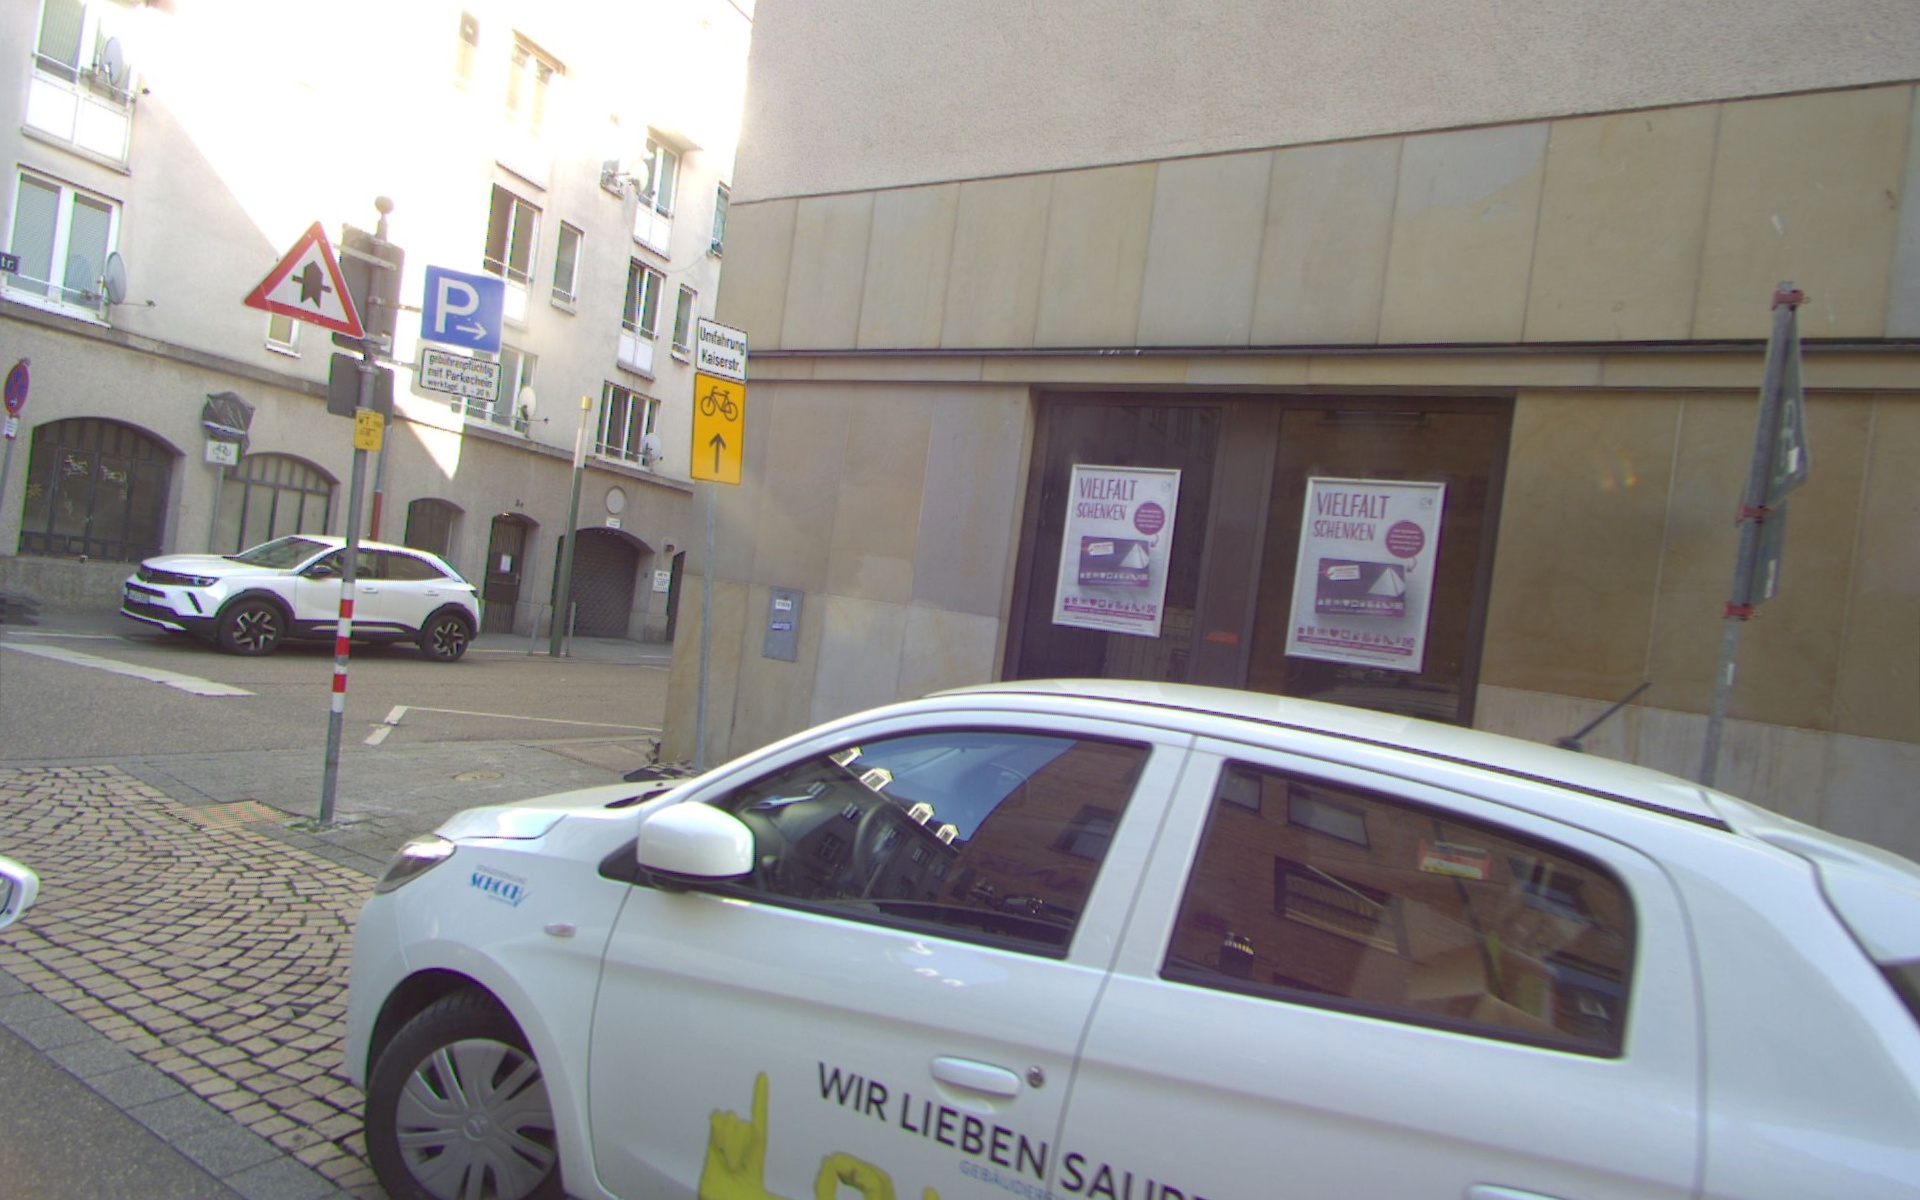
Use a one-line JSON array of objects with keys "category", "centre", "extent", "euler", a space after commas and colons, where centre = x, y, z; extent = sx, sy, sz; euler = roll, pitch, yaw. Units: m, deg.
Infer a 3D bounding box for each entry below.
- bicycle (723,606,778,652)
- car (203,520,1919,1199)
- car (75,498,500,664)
[{"category": "bicycle", "centre": [-5.345, 0.756, 25.690], "extent": [0.460, 1.032, 1.463], "euler": [8, -1, 26]}, {"category": "car", "centre": [0.329, 0.867, 2.579], "extent": [3.990, 1.536, 1.894], "euler": [7, -1, 26]}, {"category": "car", "centre": [-8.697, -0.138, 13.457], "extent": [1.869, 1.571, 4.227], "euler": [7, -2, 28]}]
